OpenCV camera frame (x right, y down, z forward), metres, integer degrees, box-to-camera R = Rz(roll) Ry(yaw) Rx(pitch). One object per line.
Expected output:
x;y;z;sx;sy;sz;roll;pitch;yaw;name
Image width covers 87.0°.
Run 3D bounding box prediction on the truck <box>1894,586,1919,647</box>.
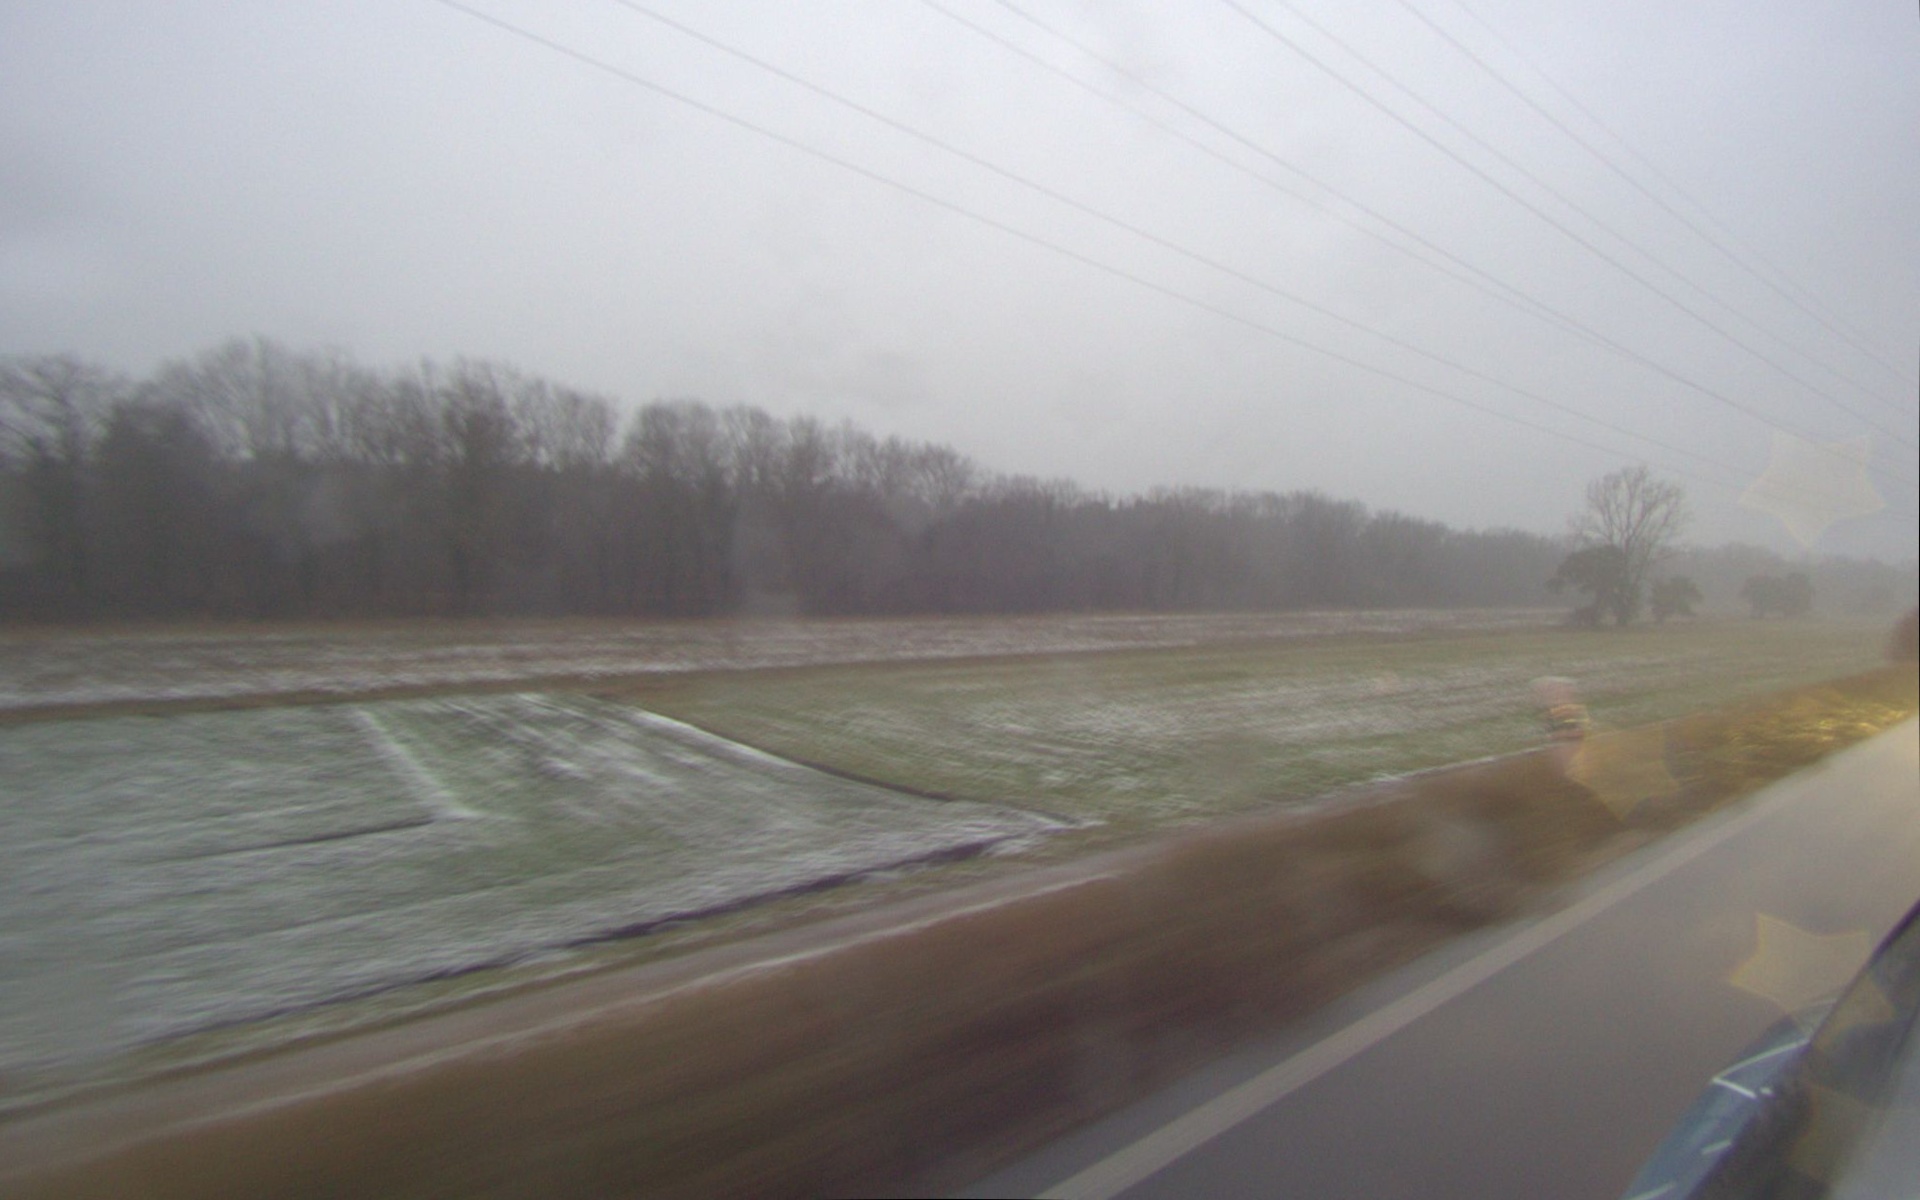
45.199;0.677;46.259;10.616;2.604;2.508;0;0;-41;truck
